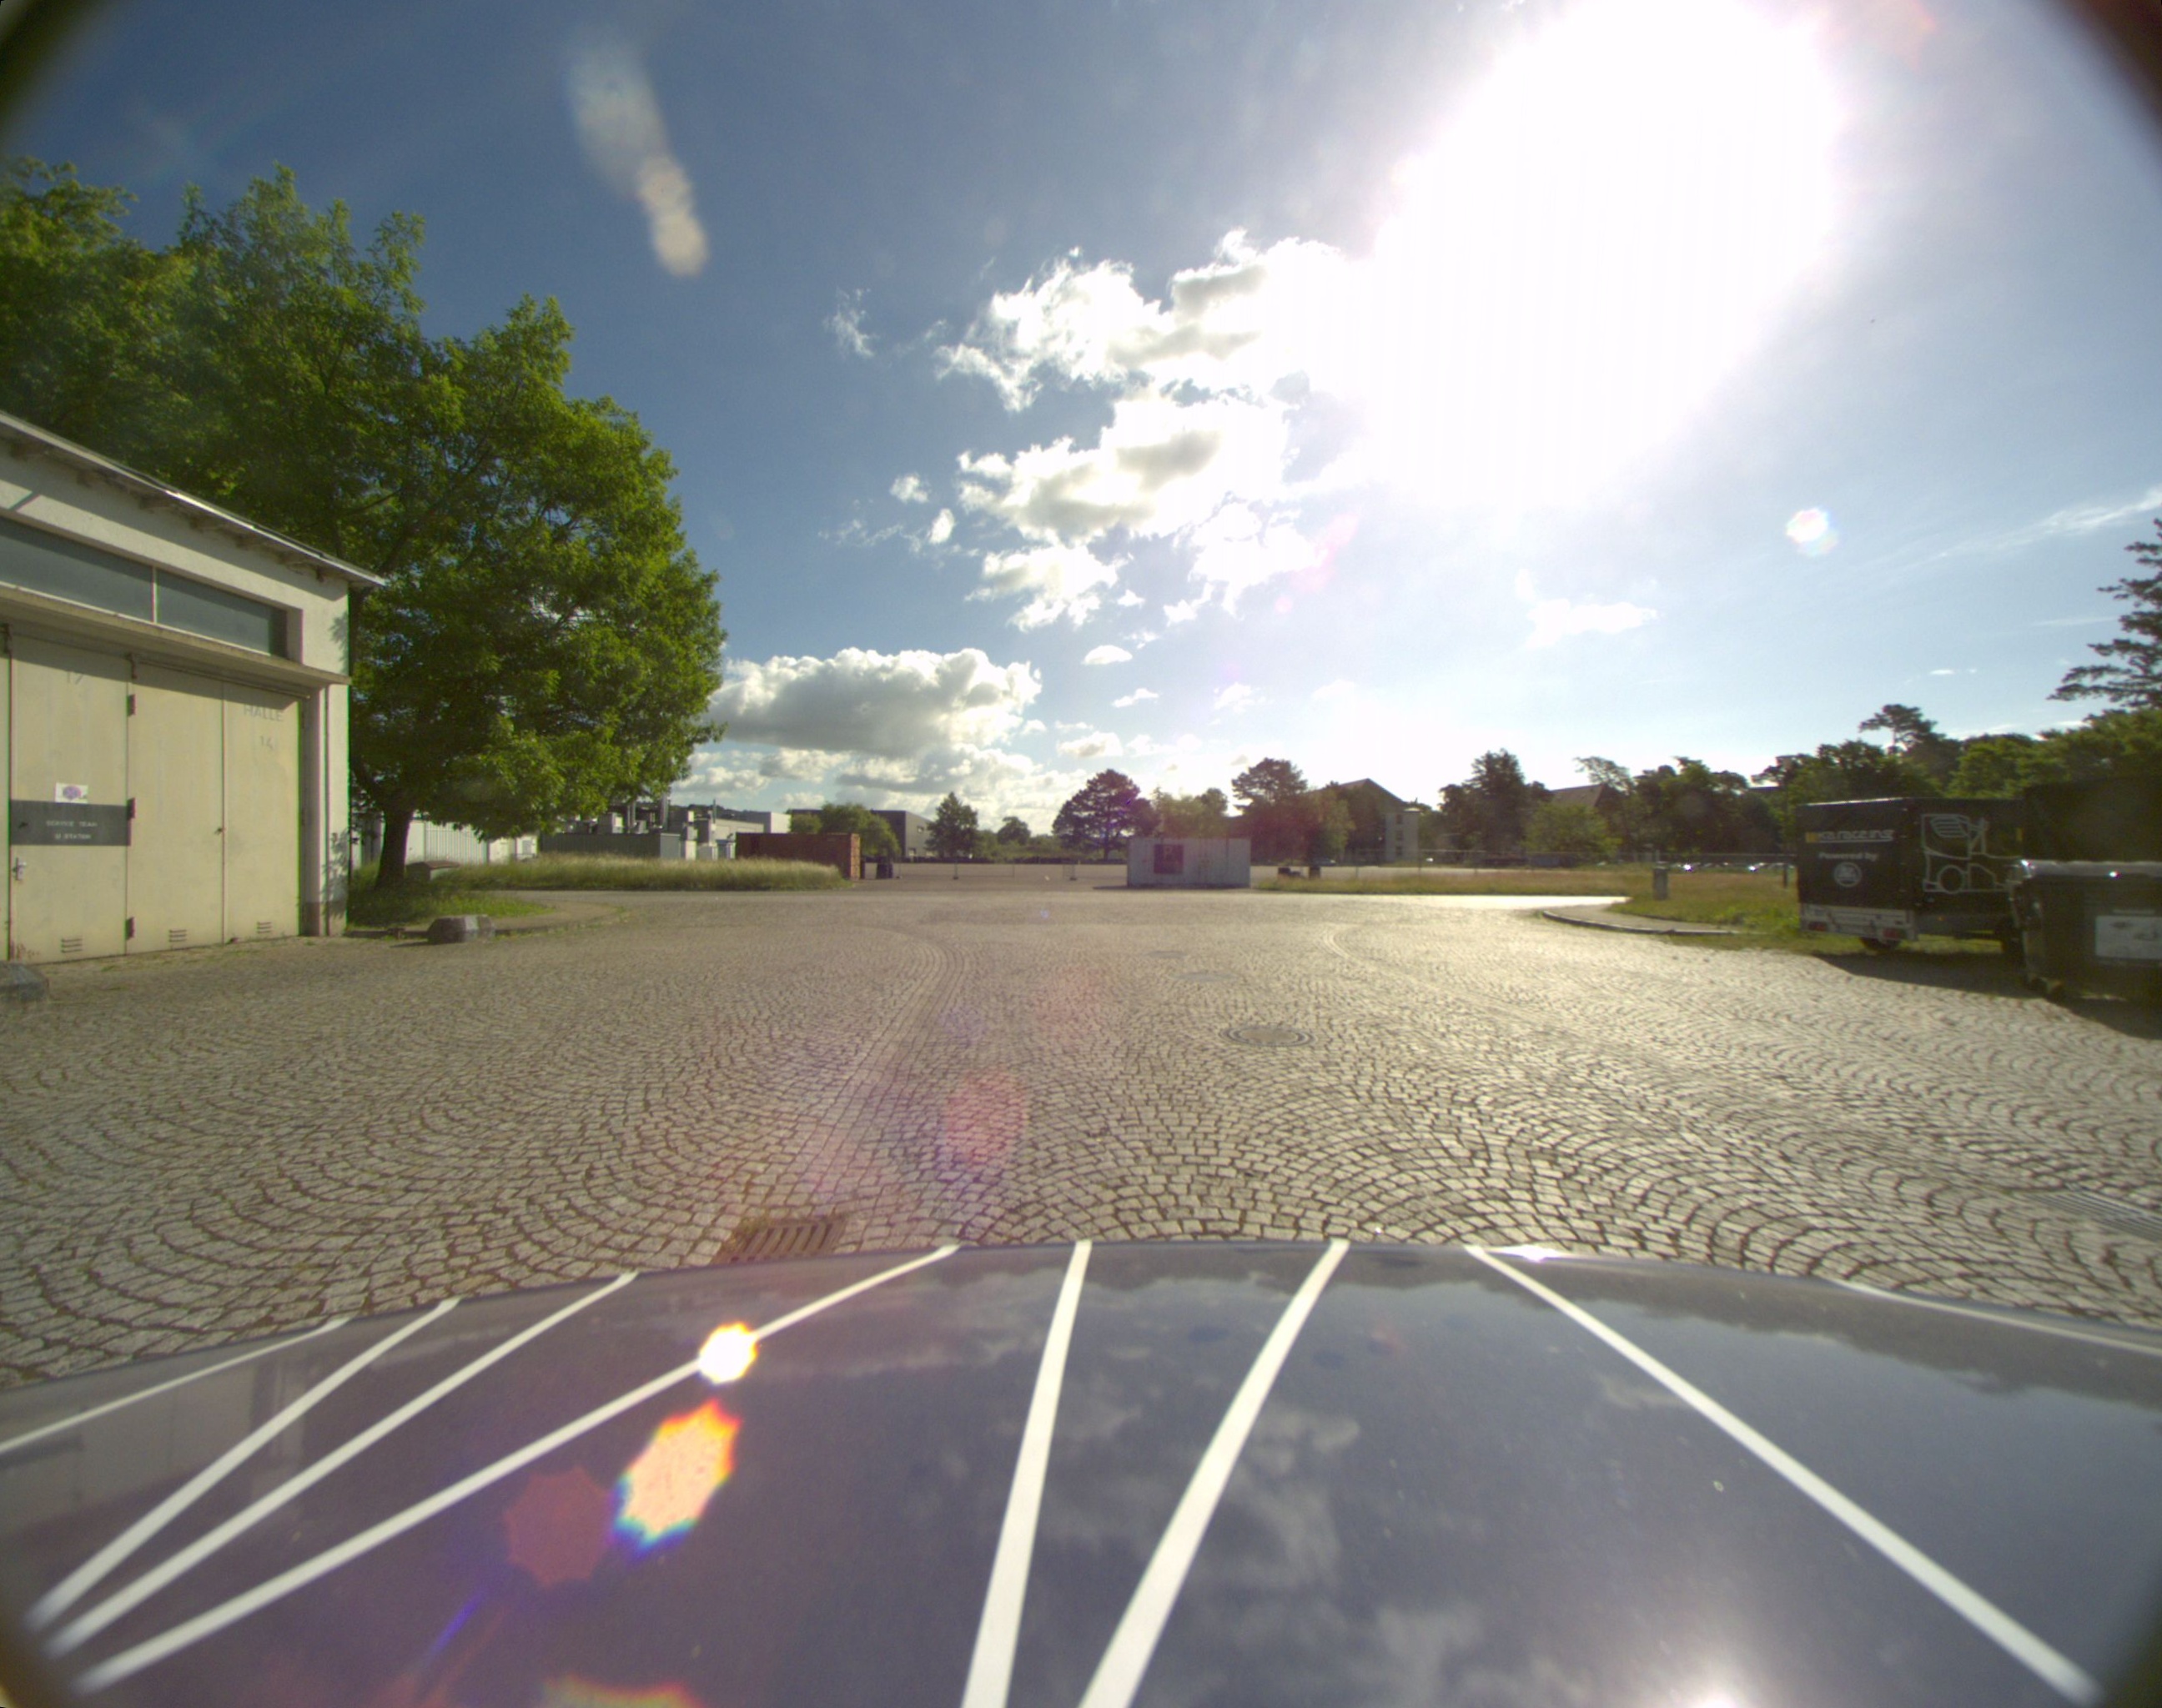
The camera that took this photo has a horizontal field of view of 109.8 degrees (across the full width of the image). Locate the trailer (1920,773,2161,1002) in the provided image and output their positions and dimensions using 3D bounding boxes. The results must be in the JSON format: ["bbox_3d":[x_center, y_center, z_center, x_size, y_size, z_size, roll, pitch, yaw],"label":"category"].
[{"bbox_3d":[13.411,0.357,9.072,4.975,2.341,2.094,0,1,-8],"label":"trailer"}]

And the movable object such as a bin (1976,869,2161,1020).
[{"bbox_3d":[10.518,0.872,7.787,1.531,1.378,1.389,1,1,41],"label":"movable object such as a bin"}]

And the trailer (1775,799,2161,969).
[{"bbox_3d":[13.687,0.405,11.411,4.668,2.285,2.136,0,1,-3],"label":"trailer"}]

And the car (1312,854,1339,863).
[{"bbox_3d":[42.745,0.723,132.887,4.000,1.573,1.998,0,1,-9],"label":"car"}]
